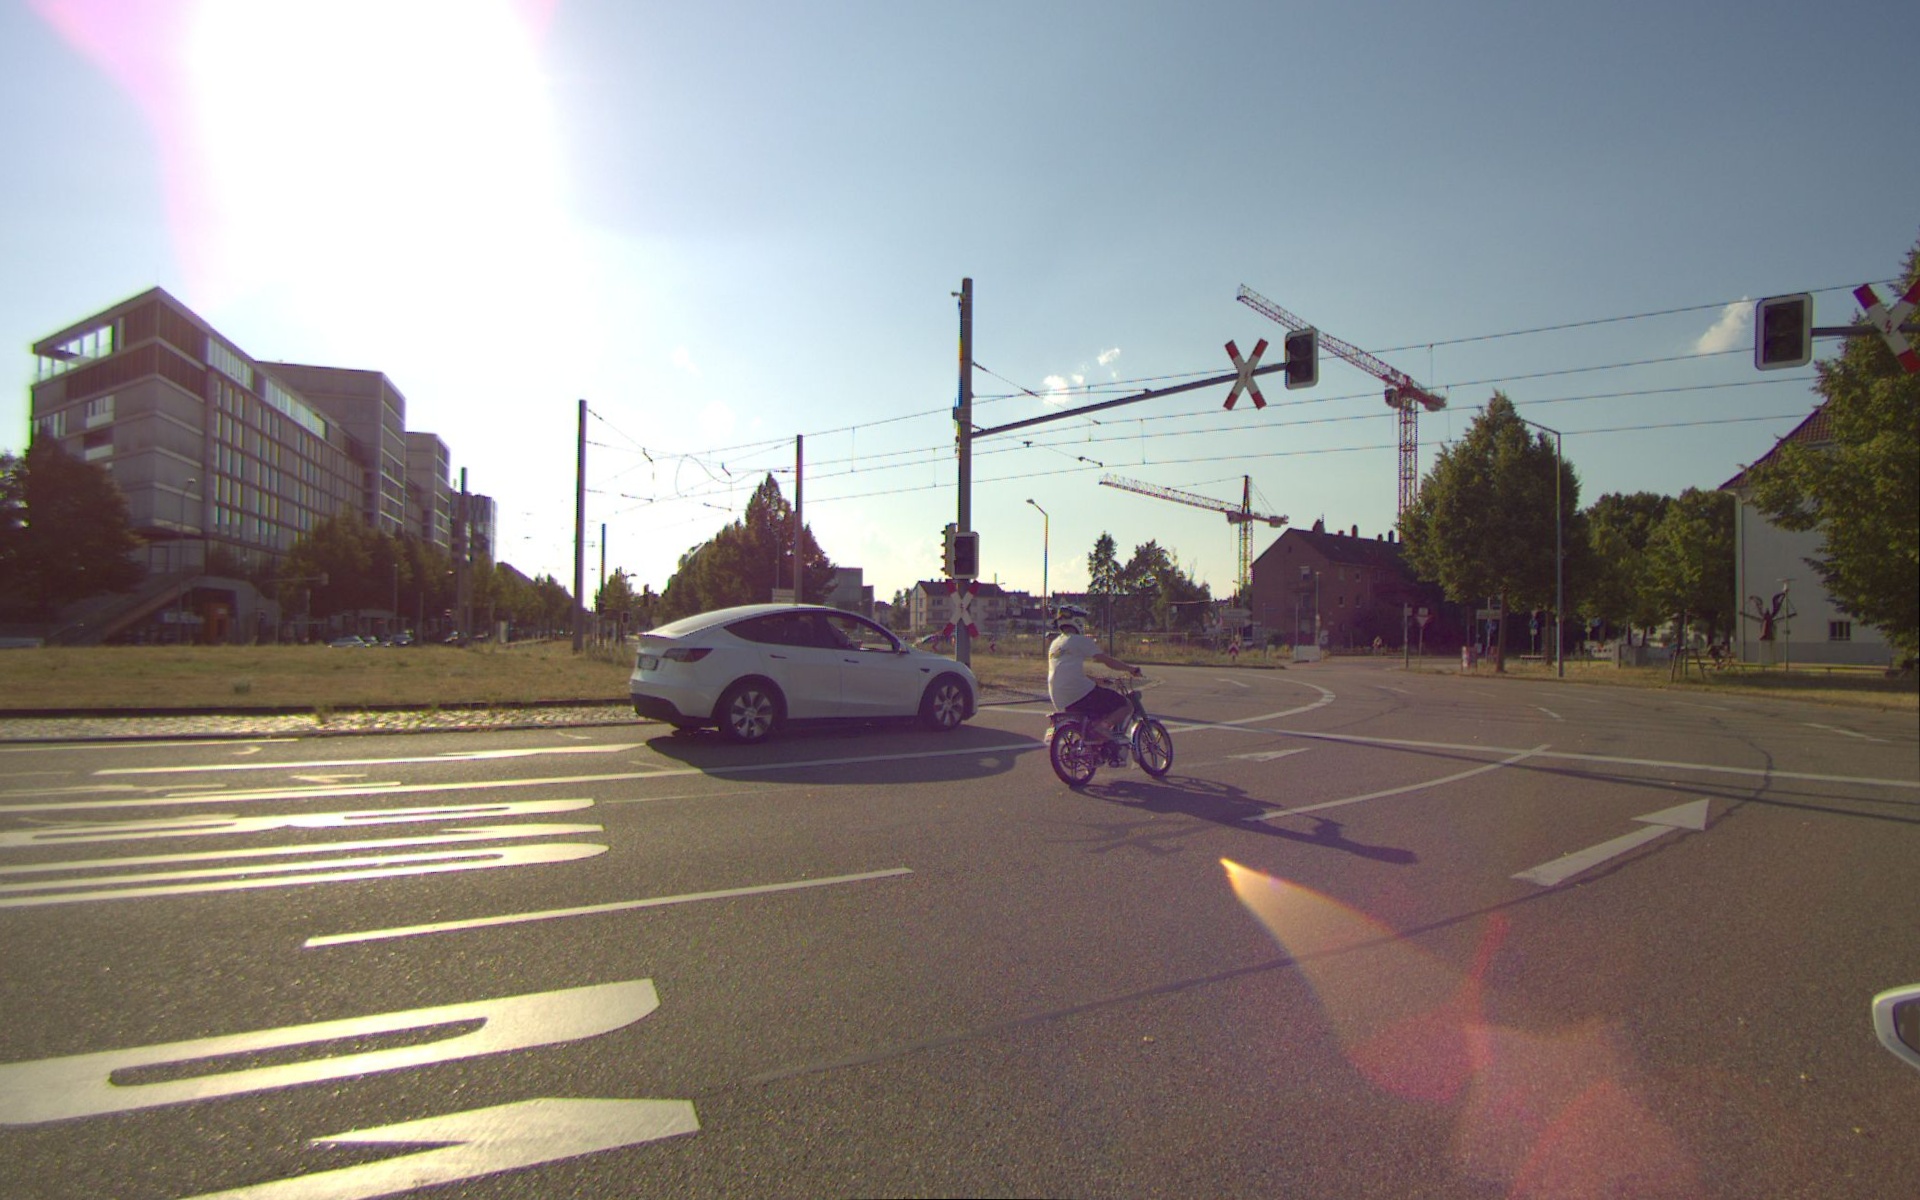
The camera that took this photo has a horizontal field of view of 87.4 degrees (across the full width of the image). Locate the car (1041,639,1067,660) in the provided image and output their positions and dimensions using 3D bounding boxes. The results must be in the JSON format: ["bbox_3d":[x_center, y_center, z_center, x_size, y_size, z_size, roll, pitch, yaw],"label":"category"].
[{"bbox_3d":[8.748,4.569,93.597,1.888,1.878,3.999,1,-1,-2],"label":"car"}]

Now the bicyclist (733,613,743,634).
[{"bbox_3d":[-17.583,1.862,79.599,0.596,1.694,0.478,1,-2,7],"label":"bicyclist"}]

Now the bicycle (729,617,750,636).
[{"bbox_3d":[-17.487,2.130,79.588,1.513,1.493,0.480,0,-2,6],"label":"bicycle"}]

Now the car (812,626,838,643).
[{"bbox_3d":[-17.258,4.396,128.660,1.976,2.040,3.970,1,-2,-29],"label":"car"}]

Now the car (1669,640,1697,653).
[{"bbox_3d":[81.701,5.286,113.536,3.518,1.461,1.572,2,-2,-36],"label":"car"}]

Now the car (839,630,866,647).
[{"bbox_3d":[-13.272,4.680,123.728,1.976,2.040,3.970,1,-2,-29],"label":"car"}]

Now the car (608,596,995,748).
[{"bbox_3d":[-1.881,0.854,12.880,4.636,1.620,1.721,3,-1,-38],"label":"car"}]

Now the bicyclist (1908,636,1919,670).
[{"bbox_3d":[44.203,2.438,46.334,0.612,1.531,0.418,0,-1,28],"label":"bicyclist"}]

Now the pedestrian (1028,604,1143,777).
[{"bbox_3d":[1.173,0.816,9.409,0.845,1.539,0.652,1,-1,-32],"label":"pedestrian"}]

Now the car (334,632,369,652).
[{"bbox_3d":[-46.287,3.175,76.474,1.460,1.495,3.289,1,-2,-17],"label":"car"}]

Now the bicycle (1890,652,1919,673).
[{"bbox_3d":[44.248,2.902,46.294,1.957,0.930,0.429,0,-1,28],"label":"bicycle"}]

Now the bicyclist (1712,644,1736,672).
[{"bbox_3d":[39.756,2.998,52.256,0.883,1.415,0.526,0,-1,22],"label":"bicyclist"}]

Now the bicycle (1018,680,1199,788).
[{"bbox_3d":[1.431,1.230,9.511,1.835,0.887,0.475,2,-1,-32],"label":"bicycle"}]

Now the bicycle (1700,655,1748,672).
[{"bbox_3d":[39.713,3.275,52.218,1.955,0.836,0.430,0,-1,21],"label":"bicycle"}]

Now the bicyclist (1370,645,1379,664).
[{"bbox_3d":[35.696,4.678,86.447,0.647,1.582,0.893,0,-2,25],"label":"bicyclist"}]

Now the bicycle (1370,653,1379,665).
[{"bbox_3d":[35.487,5.053,85.993,0.587,0.976,2.104,0,-2,24],"label":"bicycle"}]

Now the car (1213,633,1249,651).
[{"bbox_3d":[31.897,4.874,118.099,1.661,2.040,3.771,3,-3,-44],"label":"car"}]
